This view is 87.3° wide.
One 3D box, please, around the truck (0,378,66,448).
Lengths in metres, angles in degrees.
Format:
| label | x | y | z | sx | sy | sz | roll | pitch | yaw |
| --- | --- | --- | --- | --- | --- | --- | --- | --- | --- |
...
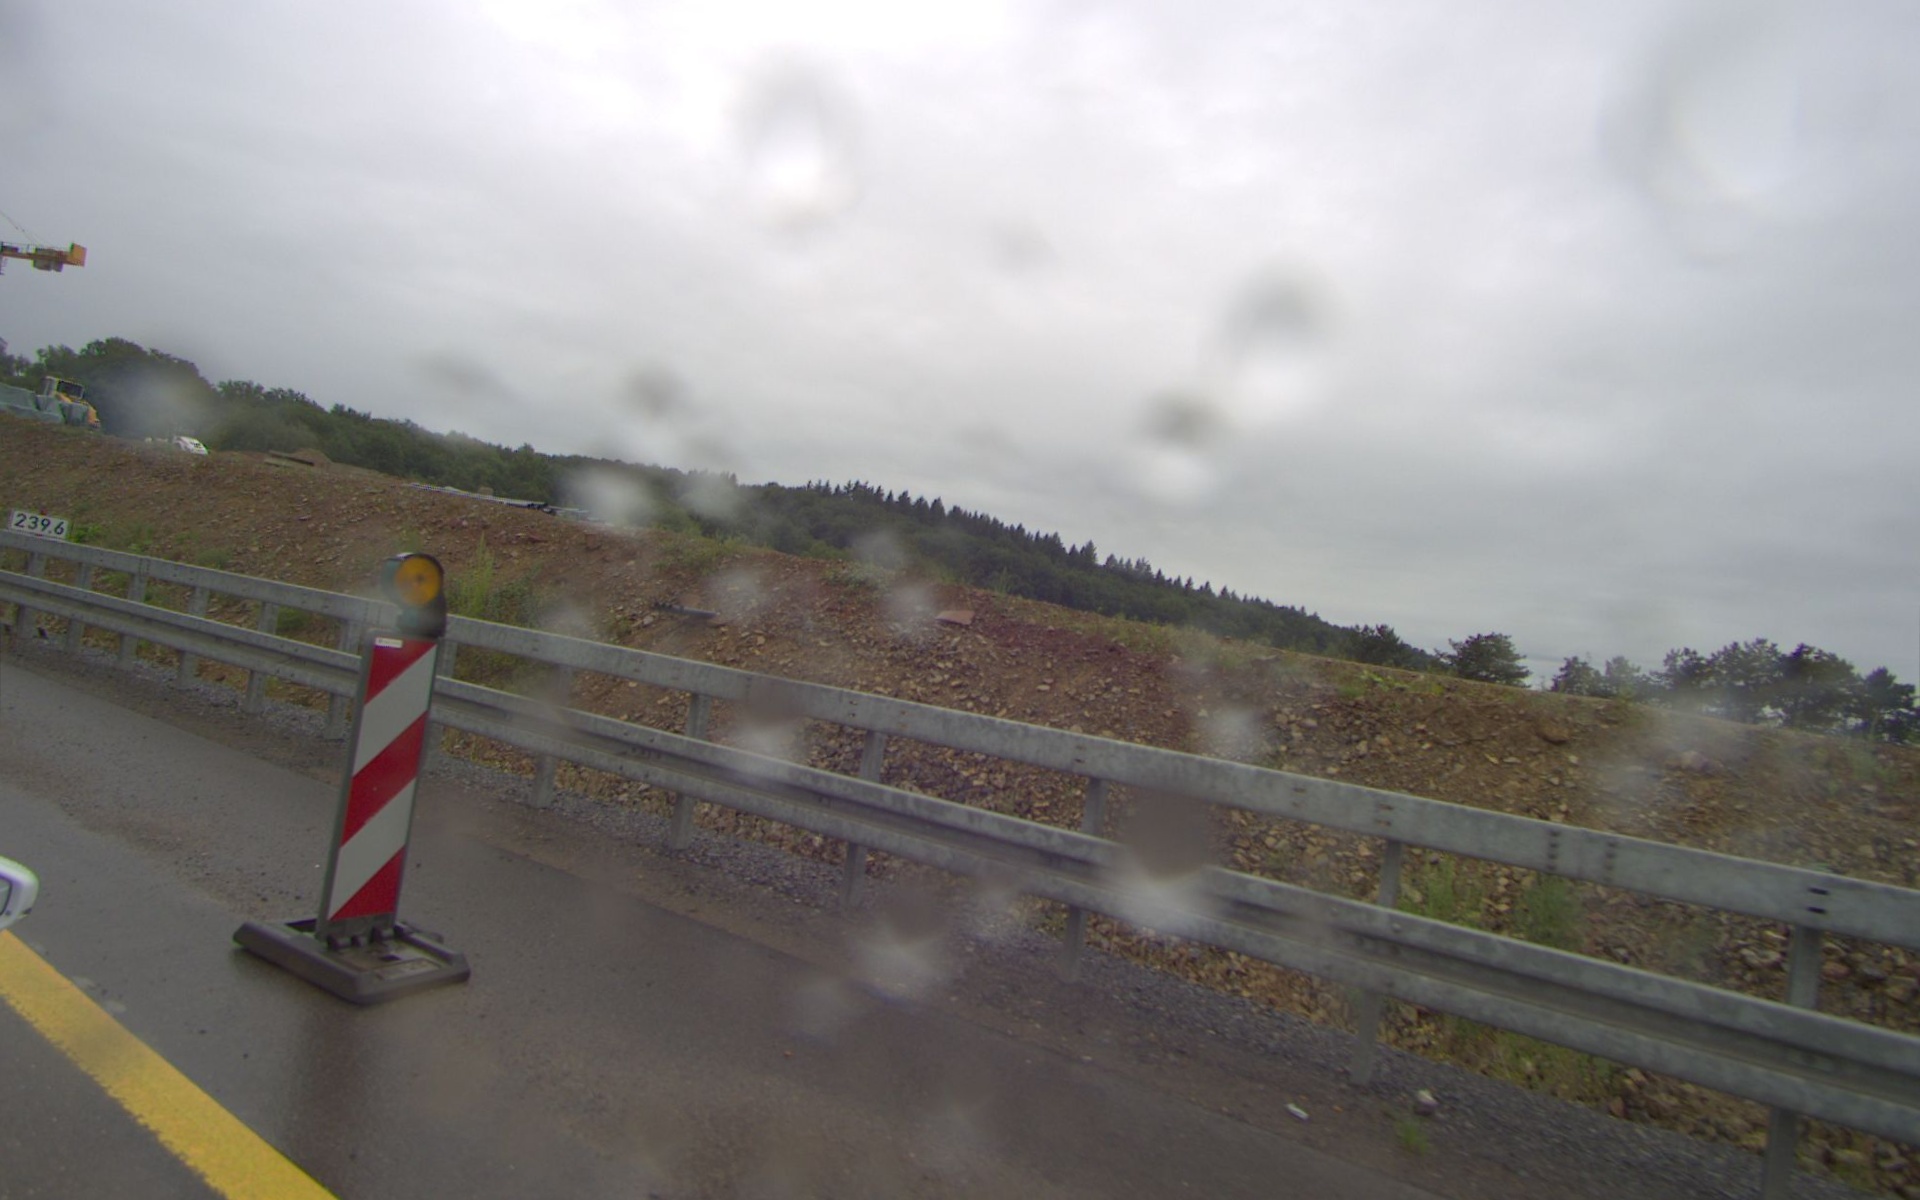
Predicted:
| label | x | y | z | sx | sy | sz | roll | pitch | yaw |
| --- | --- | --- | --- | --- | --- | --- | --- | --- | --- |
| truck | -51.299 | -9.996 | 53.322 | 8.813 | 2.908 | 3.401 | 7 | -1 | 33 |

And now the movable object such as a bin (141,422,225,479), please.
| label | x | y | z | sx | sy | sz | roll | pitch | yaw |
| --- | --- | --- | --- | --- | --- | --- | --- | --- | --- |
| movable object such as a bin | -59.437 | -11.445 | 76.936 | 6.446 | 3.642 | 2.347 | 7 | -1 | 28 |

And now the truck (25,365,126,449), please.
| label | x | y | z | sx | sy | sz | roll | pitch | yaw |
| --- | --- | --- | --- | --- | --- | --- | --- | --- | --- |
| truck | -52.423 | -11.400 | 59.603 | 5.878 | 4.267 | 2.378 | 7 | -1 | 31 |
